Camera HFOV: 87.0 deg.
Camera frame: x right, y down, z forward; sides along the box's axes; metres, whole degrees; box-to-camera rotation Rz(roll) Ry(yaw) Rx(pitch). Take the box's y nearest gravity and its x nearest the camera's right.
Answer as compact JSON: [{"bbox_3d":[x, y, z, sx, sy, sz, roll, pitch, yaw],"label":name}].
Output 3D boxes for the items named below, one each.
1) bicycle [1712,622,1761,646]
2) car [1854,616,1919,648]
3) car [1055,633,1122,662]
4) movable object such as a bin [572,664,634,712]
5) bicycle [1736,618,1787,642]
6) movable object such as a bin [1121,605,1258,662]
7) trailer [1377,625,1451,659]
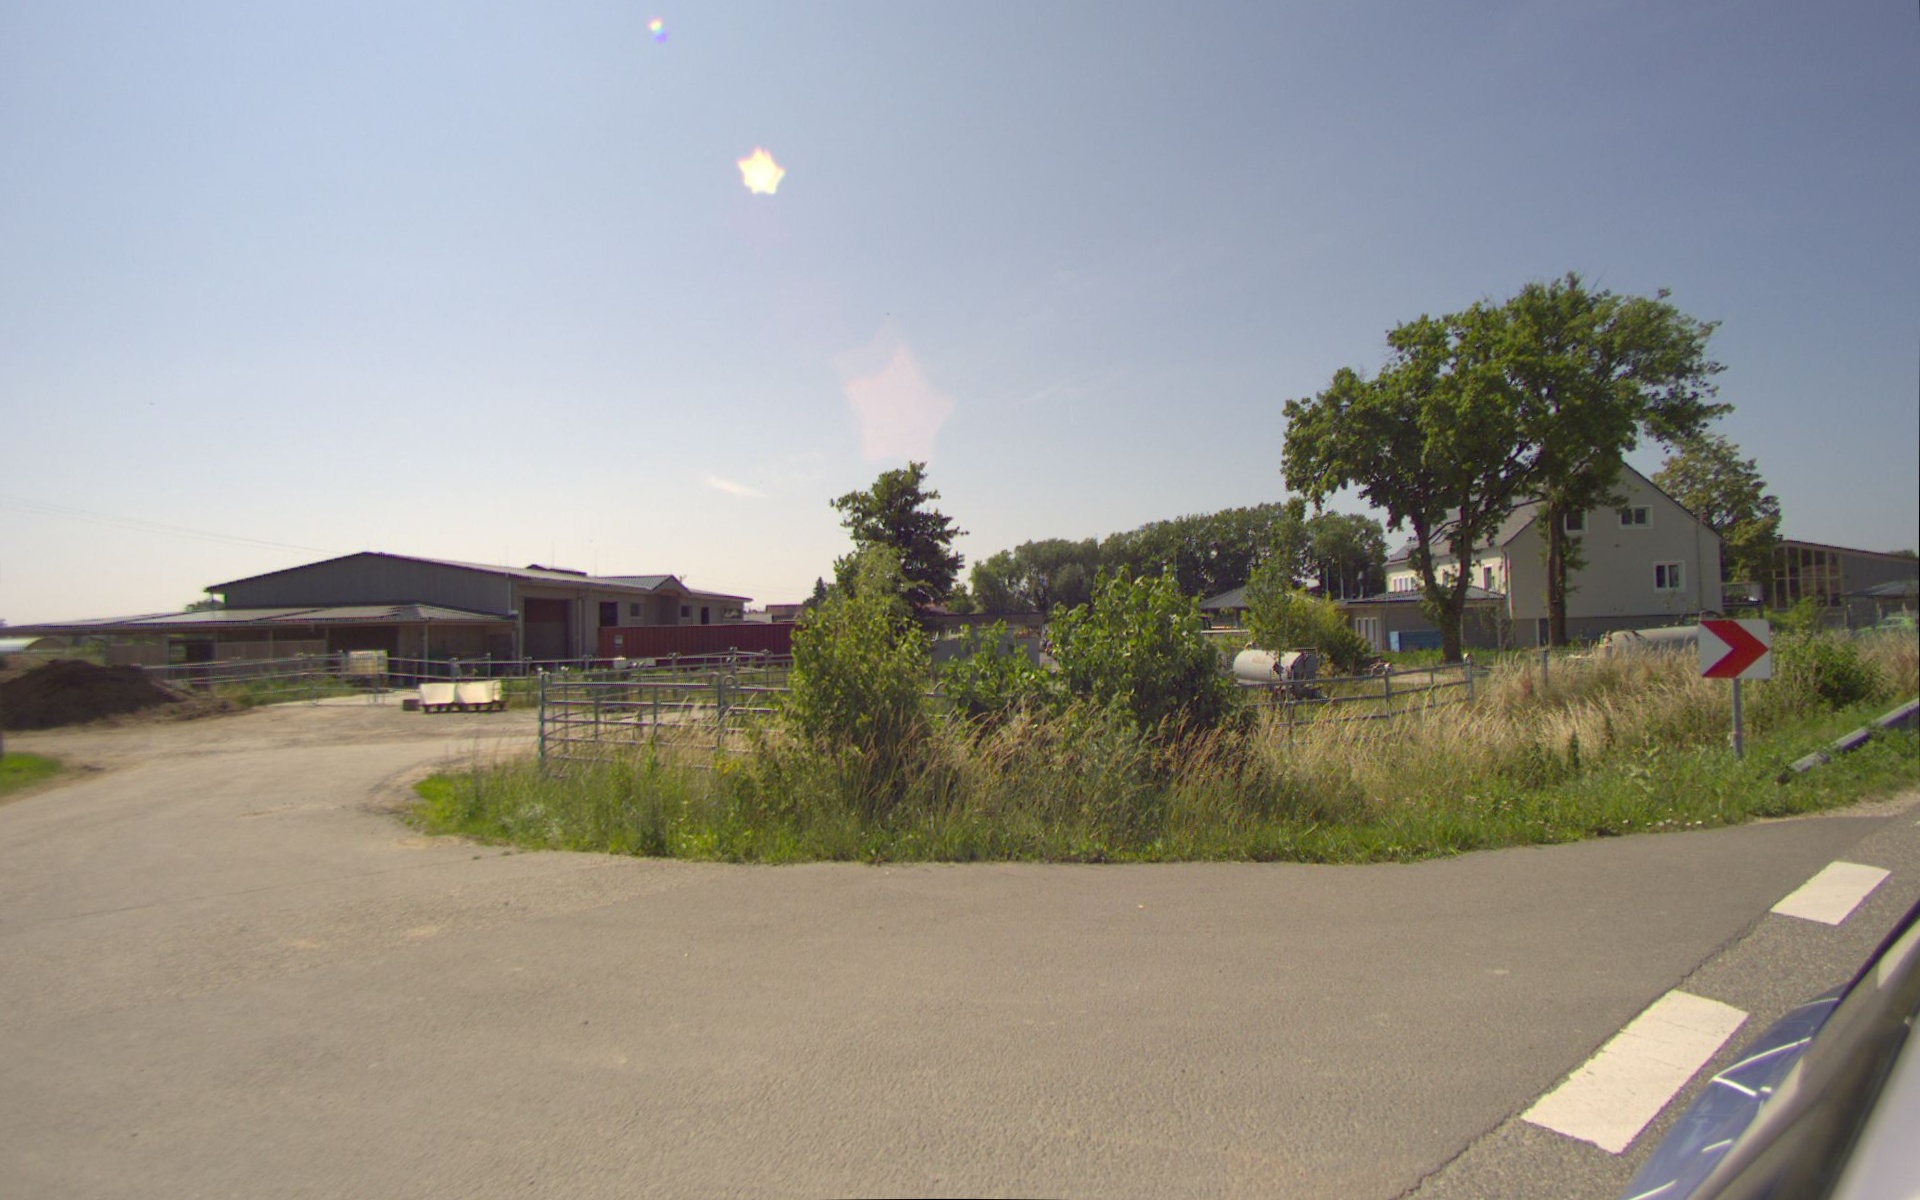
[{"bbox_3d":[42.003,1.853,54.772,1.936,1.207,0.713,-2,-3,7],"label":"bicycle"},{"bbox_3d":[50.612,1.690,54.133,1.900,1.601,4.364,-4,-3,6],"label":"car"},{"bbox_3d":[7.706,2.855,61.136,3.806,1.595,1.997,2,-2,4],"label":"car"},{"bbox_3d":[-11.242,2.761,31.929,1.487,1.367,1.373,-2,-2,-3],"label":"movable object such as a bin"},{"bbox_3d":[42.304,1.573,53.437,1.936,1.207,0.713,-2,-2,7],"label":"bicycle"},{"bbox_3d":[12.165,1.815,54.071,6.373,2.806,3.014,-1,-3,-7],"label":"movable object such as a bin"},{"bbox_3d":[23.558,2.171,52.595,3.094,1.516,1.709,-4,-2,14],"label":"trailer"}]
